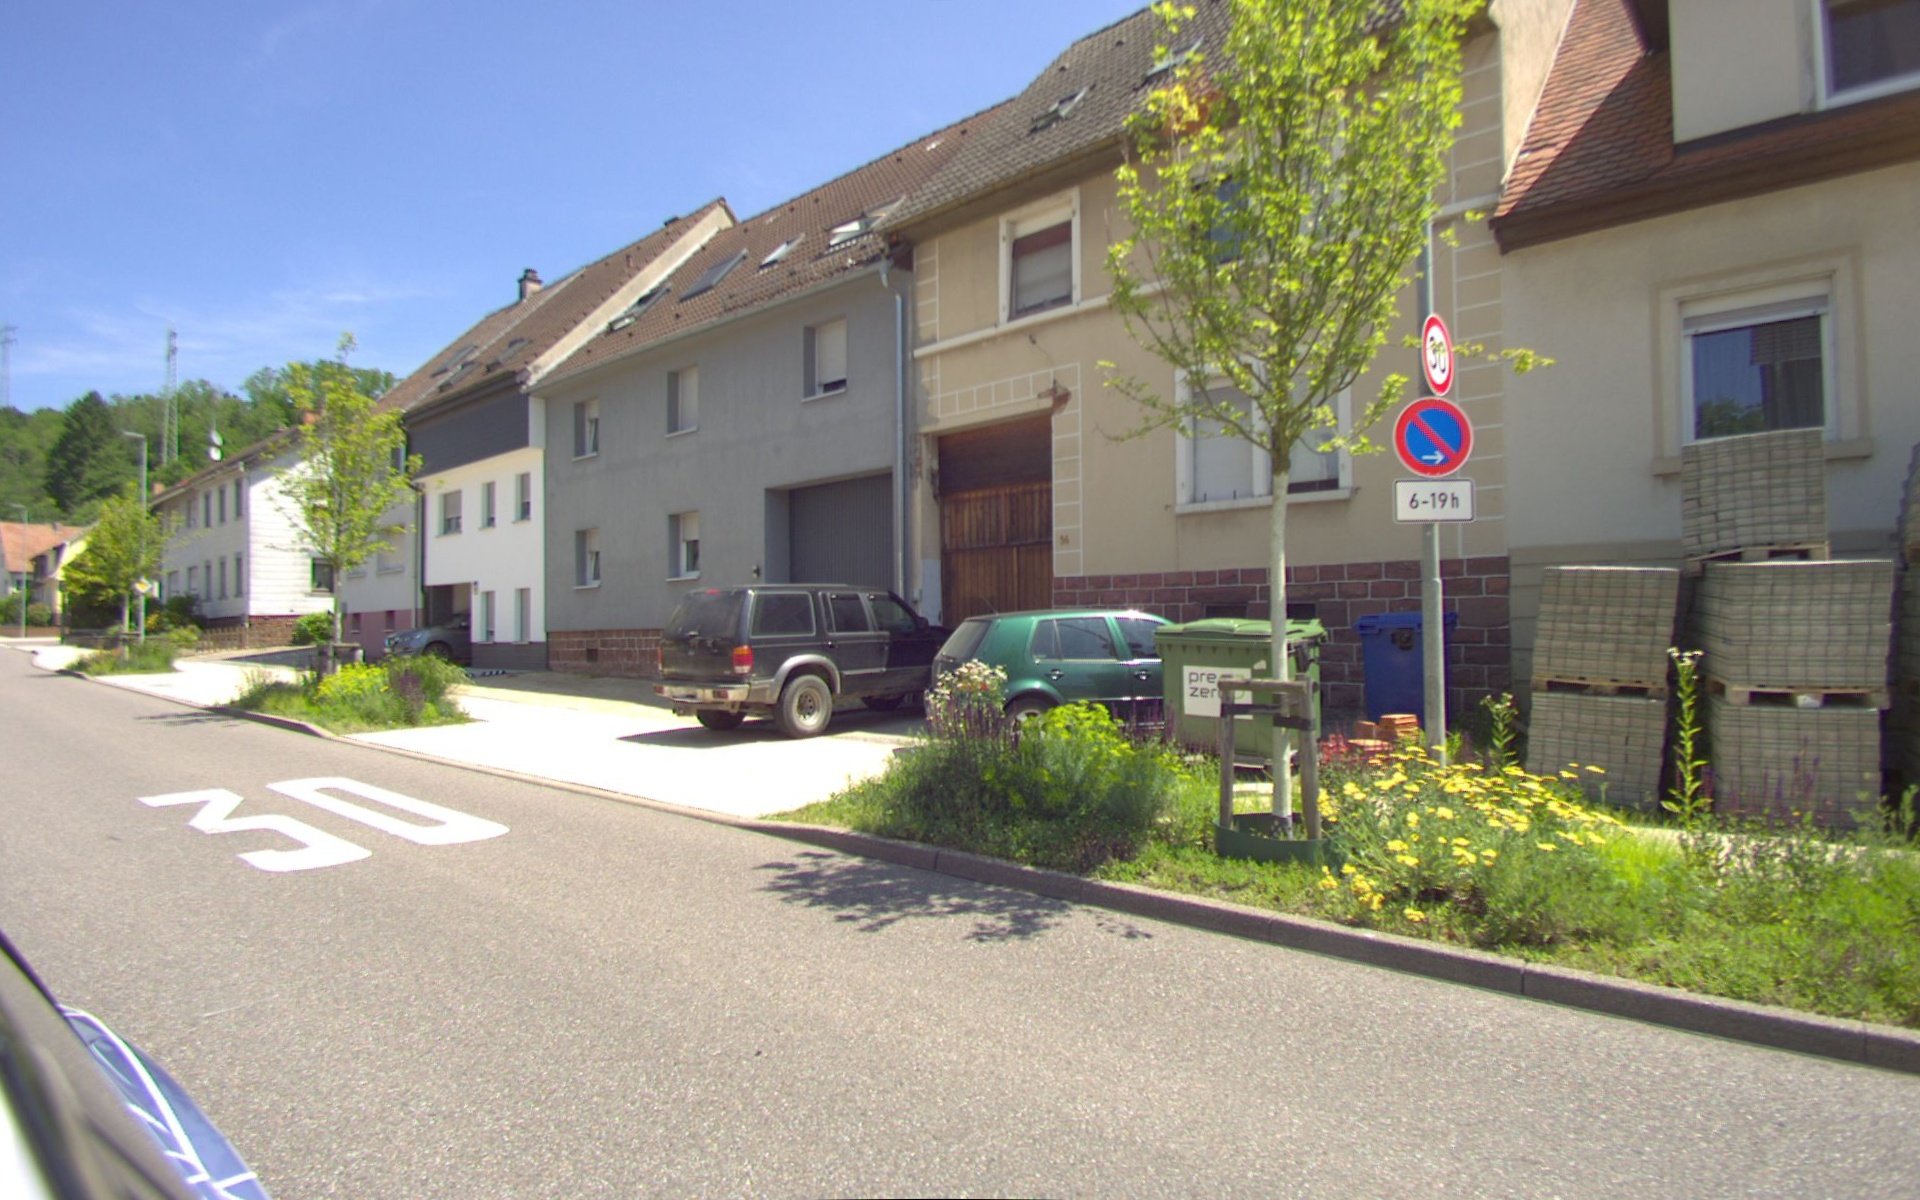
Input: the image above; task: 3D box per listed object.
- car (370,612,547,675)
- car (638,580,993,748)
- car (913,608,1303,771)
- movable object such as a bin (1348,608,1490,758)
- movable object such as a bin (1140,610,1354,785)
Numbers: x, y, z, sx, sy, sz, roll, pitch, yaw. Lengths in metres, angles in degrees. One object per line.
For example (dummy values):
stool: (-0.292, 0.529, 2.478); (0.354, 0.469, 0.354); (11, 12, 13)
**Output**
car: (-13.612, 1.125, 27.616); (1.832, 1.557, 3.945); (-1, -1, 42)
car: (-1.664, 0.702, 12.892); (1.877, 1.764, 4.349); (-1, -1, 40)
car: (1.410, 0.814, 10.216); (3.492, 1.450, 1.703); (0, -1, -13)
movable object such as a bin: (4.305, 0.741, 9.469); (0.888, 1.278, 1.225); (-4, -3, 38)
movable object such as a bin: (2.437, 0.795, 8.658); (0.978, 1.330, 1.404); (0, -3, -45)
